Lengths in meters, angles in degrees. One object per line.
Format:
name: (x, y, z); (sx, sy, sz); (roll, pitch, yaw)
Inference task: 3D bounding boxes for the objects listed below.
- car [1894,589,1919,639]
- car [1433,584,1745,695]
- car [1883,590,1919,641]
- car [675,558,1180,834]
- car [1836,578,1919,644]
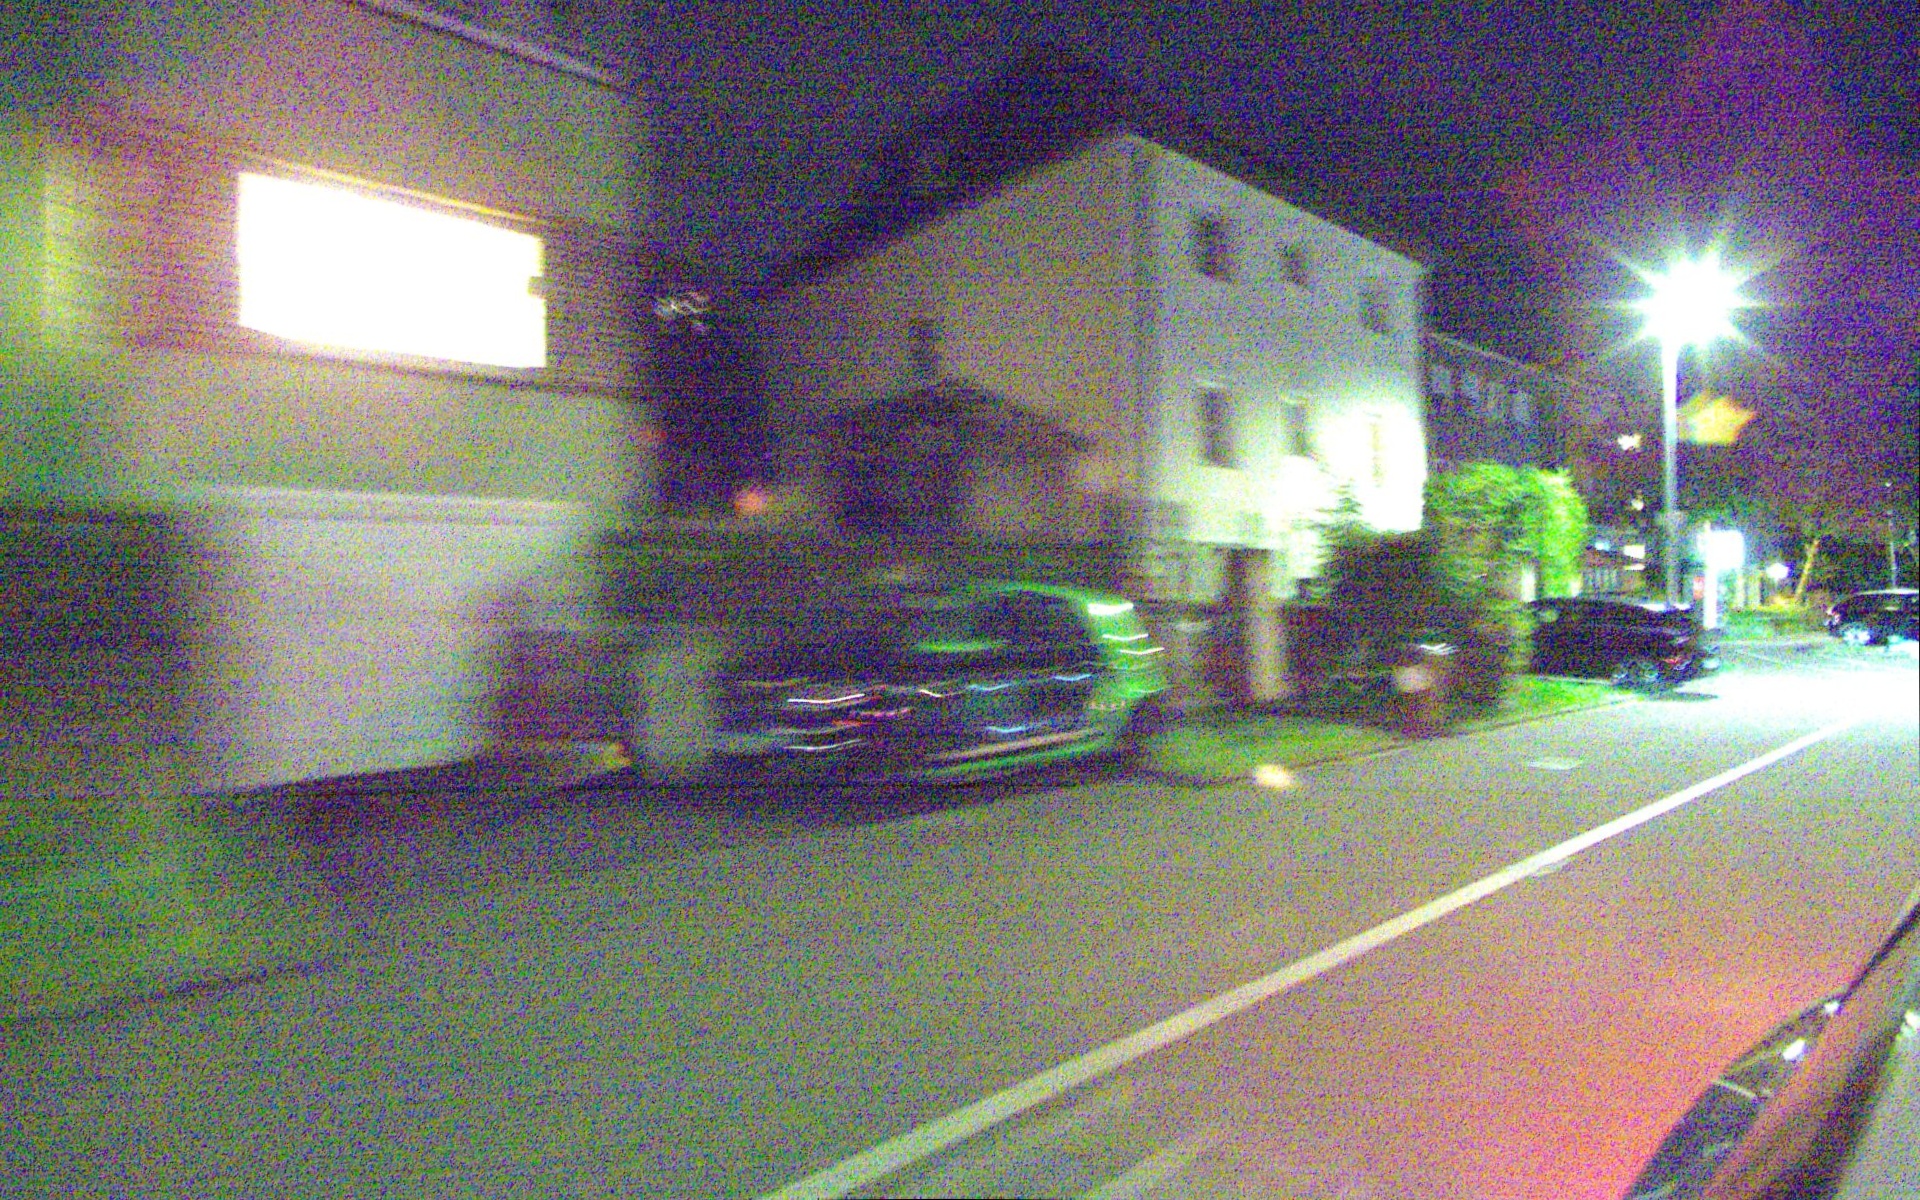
car: (31.880, 0.457, 31.542); (1.822, 1.533, 3.923); (-1, 1, -41)
car: (9.980, 0.527, 16.284); (1.800, 1.504, 3.912); (0, 1, -40)
car: (30.232, 0.482, 30.170); (1.824, 1.533, 3.920); (0, 1, -43)
car: (-0.100, 0.534, 7.623); (3.615, 1.579, 1.642); (0, 0, -42)
car: (27.775, 0.313, 28.484); (1.992, 1.839, 4.369); (0, 1, -34)
